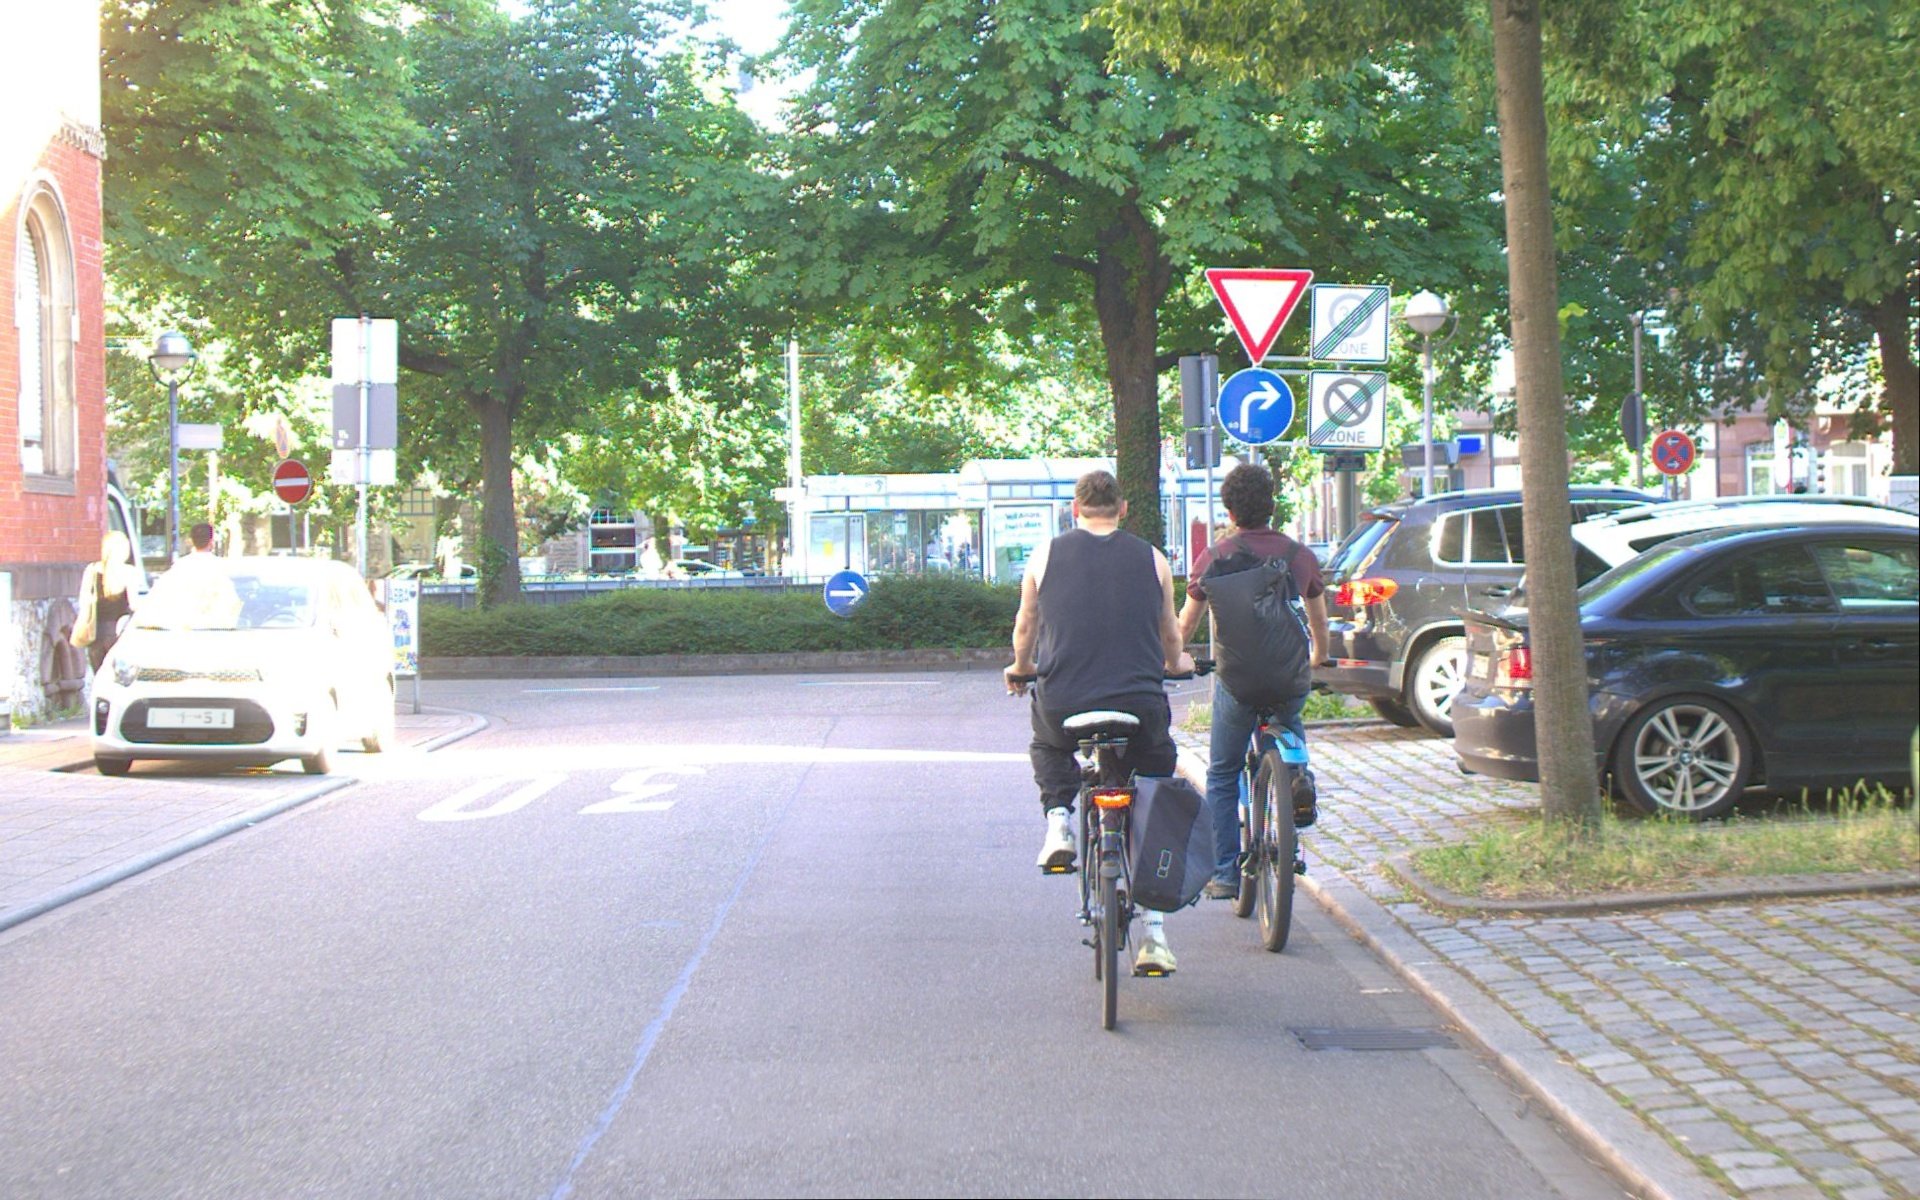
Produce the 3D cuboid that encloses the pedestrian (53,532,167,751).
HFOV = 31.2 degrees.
[{"bbox_3d":[-6.365,0.302,25.771,0.600,1.599,0.855,-1,1,1],"label":"pedestrian"}]

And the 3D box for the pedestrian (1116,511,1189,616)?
[{"bbox_3d":[3.530,-0.671,62.981,1.016,1.891,0.912,-1,1,-22],"label":"pedestrian"}]

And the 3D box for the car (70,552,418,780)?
[{"bbox_3d":[-5.045,0.410,24.682,1.705,1.480,3.797,1,1,0],"label":"car"}]

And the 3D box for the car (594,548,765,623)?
[{"bbox_3d":[-7.370,-0.392,90.276,3.986,1.864,2.000,-2,1,-25],"label":"car"}]

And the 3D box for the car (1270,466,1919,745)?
[{"bbox_3d":[4.417,0.002,24.200,4.105,1.707,2.024,-2,2,-4],"label":"car"}]

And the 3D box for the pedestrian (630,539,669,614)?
[{"bbox_3d":[-7.096,-0.538,78.546,0.701,1.689,0.671,1,1,-22],"label":"pedestrian"}]

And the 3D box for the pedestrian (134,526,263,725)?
[{"bbox_3d":[-6.388,0.204,28.871,0.867,1.637,0.860,-1,1,0],"label":"pedestrian"}]

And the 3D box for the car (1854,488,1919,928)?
[{"bbox_3d":[5.045,0.297,11.570,3.589,1.500,1.678,-3,1,1],"label":"car"}]

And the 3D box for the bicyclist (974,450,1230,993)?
[{"bbox_3d":[0.445,0.372,11.167,0.752,1.676,0.913,-1,1,0],"label":"bicyclist"}]

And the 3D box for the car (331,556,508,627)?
[{"bbox_3d":[-13.526,-0.220,86.139,3.938,1.673,1.953,-2,1,-44],"label":"car"}]

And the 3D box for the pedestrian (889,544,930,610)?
[{"bbox_3d":[-1.190,-0.556,81.094,0.809,1.538,0.821,1,1,-11],"label":"pedestrian"}]

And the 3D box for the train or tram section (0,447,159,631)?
[{"bbox_3d":[-18.560,-1.109,60.286,8.415,3.166,2.862,1,1,-22],"label":"train or tram section"}]

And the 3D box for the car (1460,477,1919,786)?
[{"bbox_3d":[4.801,0.148,19.594,3.693,1.645,1.704,-1,1,3],"label":"car"}]

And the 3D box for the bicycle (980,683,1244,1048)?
[{"bbox_3d":[0.455,0.812,11.204,0.737,1.008,2.061,1,0,0],"label":"bicycle"}]

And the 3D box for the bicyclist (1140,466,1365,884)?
[{"bbox_3d":[1.096,0.275,13.065,0.671,1.509,1.069,-1,0,-3],"label":"bicyclist"}]

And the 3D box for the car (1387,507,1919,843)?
[{"bbox_3d":[4.305,0.280,16.897,4.104,1.407,1.792,-4,1,0],"label":"car"}]

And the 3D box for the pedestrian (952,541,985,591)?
[{"bbox_3d":[0.283,-1.133,113.403,1.000,1.625,1.064,-1,1,-1],"label":"pedestrian"}]

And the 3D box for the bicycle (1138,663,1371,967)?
[{"bbox_3d":[1.101,0.784,13.272,0.674,1.050,2.061,-1,-1,-1],"label":"bicycle"}]
